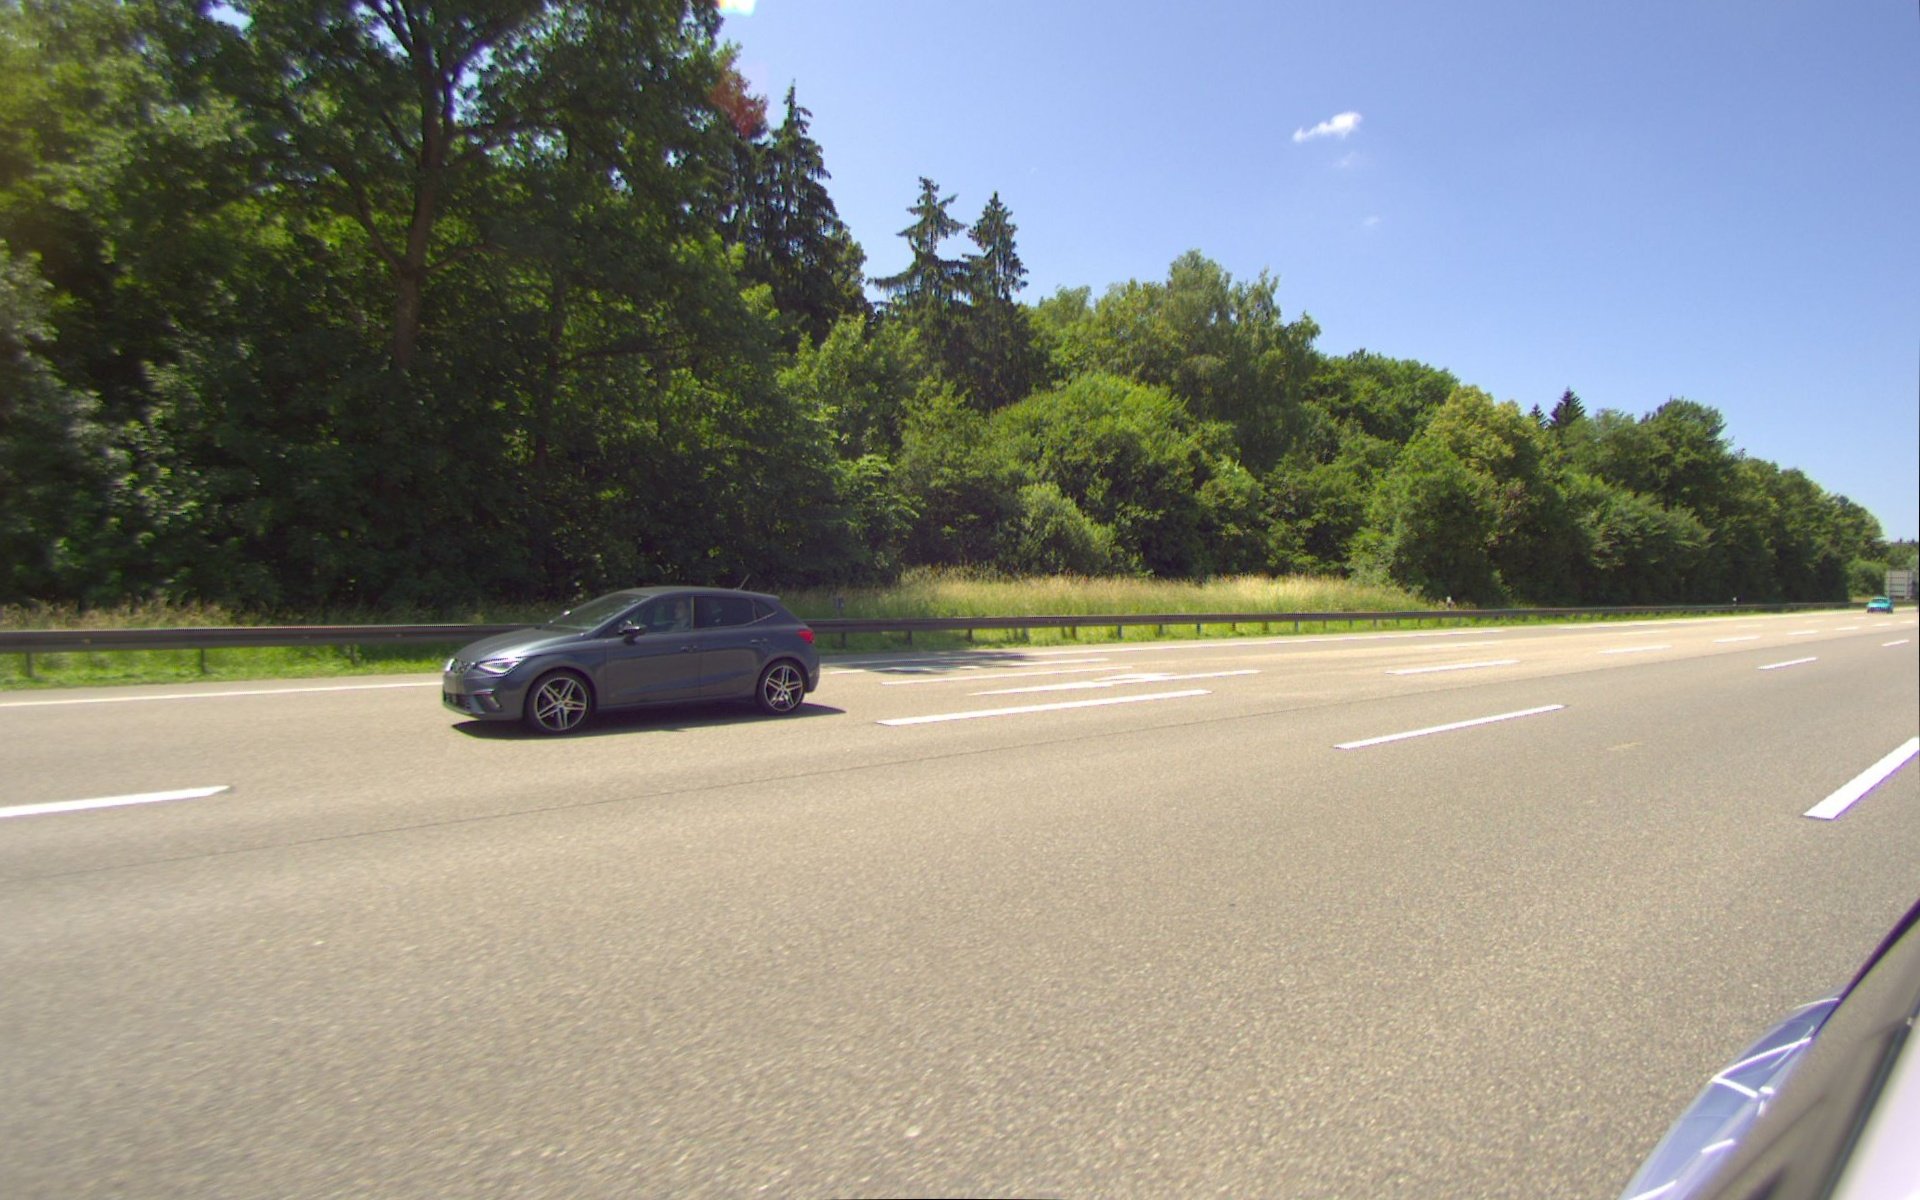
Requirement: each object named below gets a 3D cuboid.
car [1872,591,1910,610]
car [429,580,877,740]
[{"bbox_3d":[86.794,0.041,94.329,4.052,1.701,1.999,0,3,-39],"label":"car"},{"bbox_3d":[-3.250,0.539,11.350,4.554,1.457,1.646,0,0,-41],"label":"car"}]
